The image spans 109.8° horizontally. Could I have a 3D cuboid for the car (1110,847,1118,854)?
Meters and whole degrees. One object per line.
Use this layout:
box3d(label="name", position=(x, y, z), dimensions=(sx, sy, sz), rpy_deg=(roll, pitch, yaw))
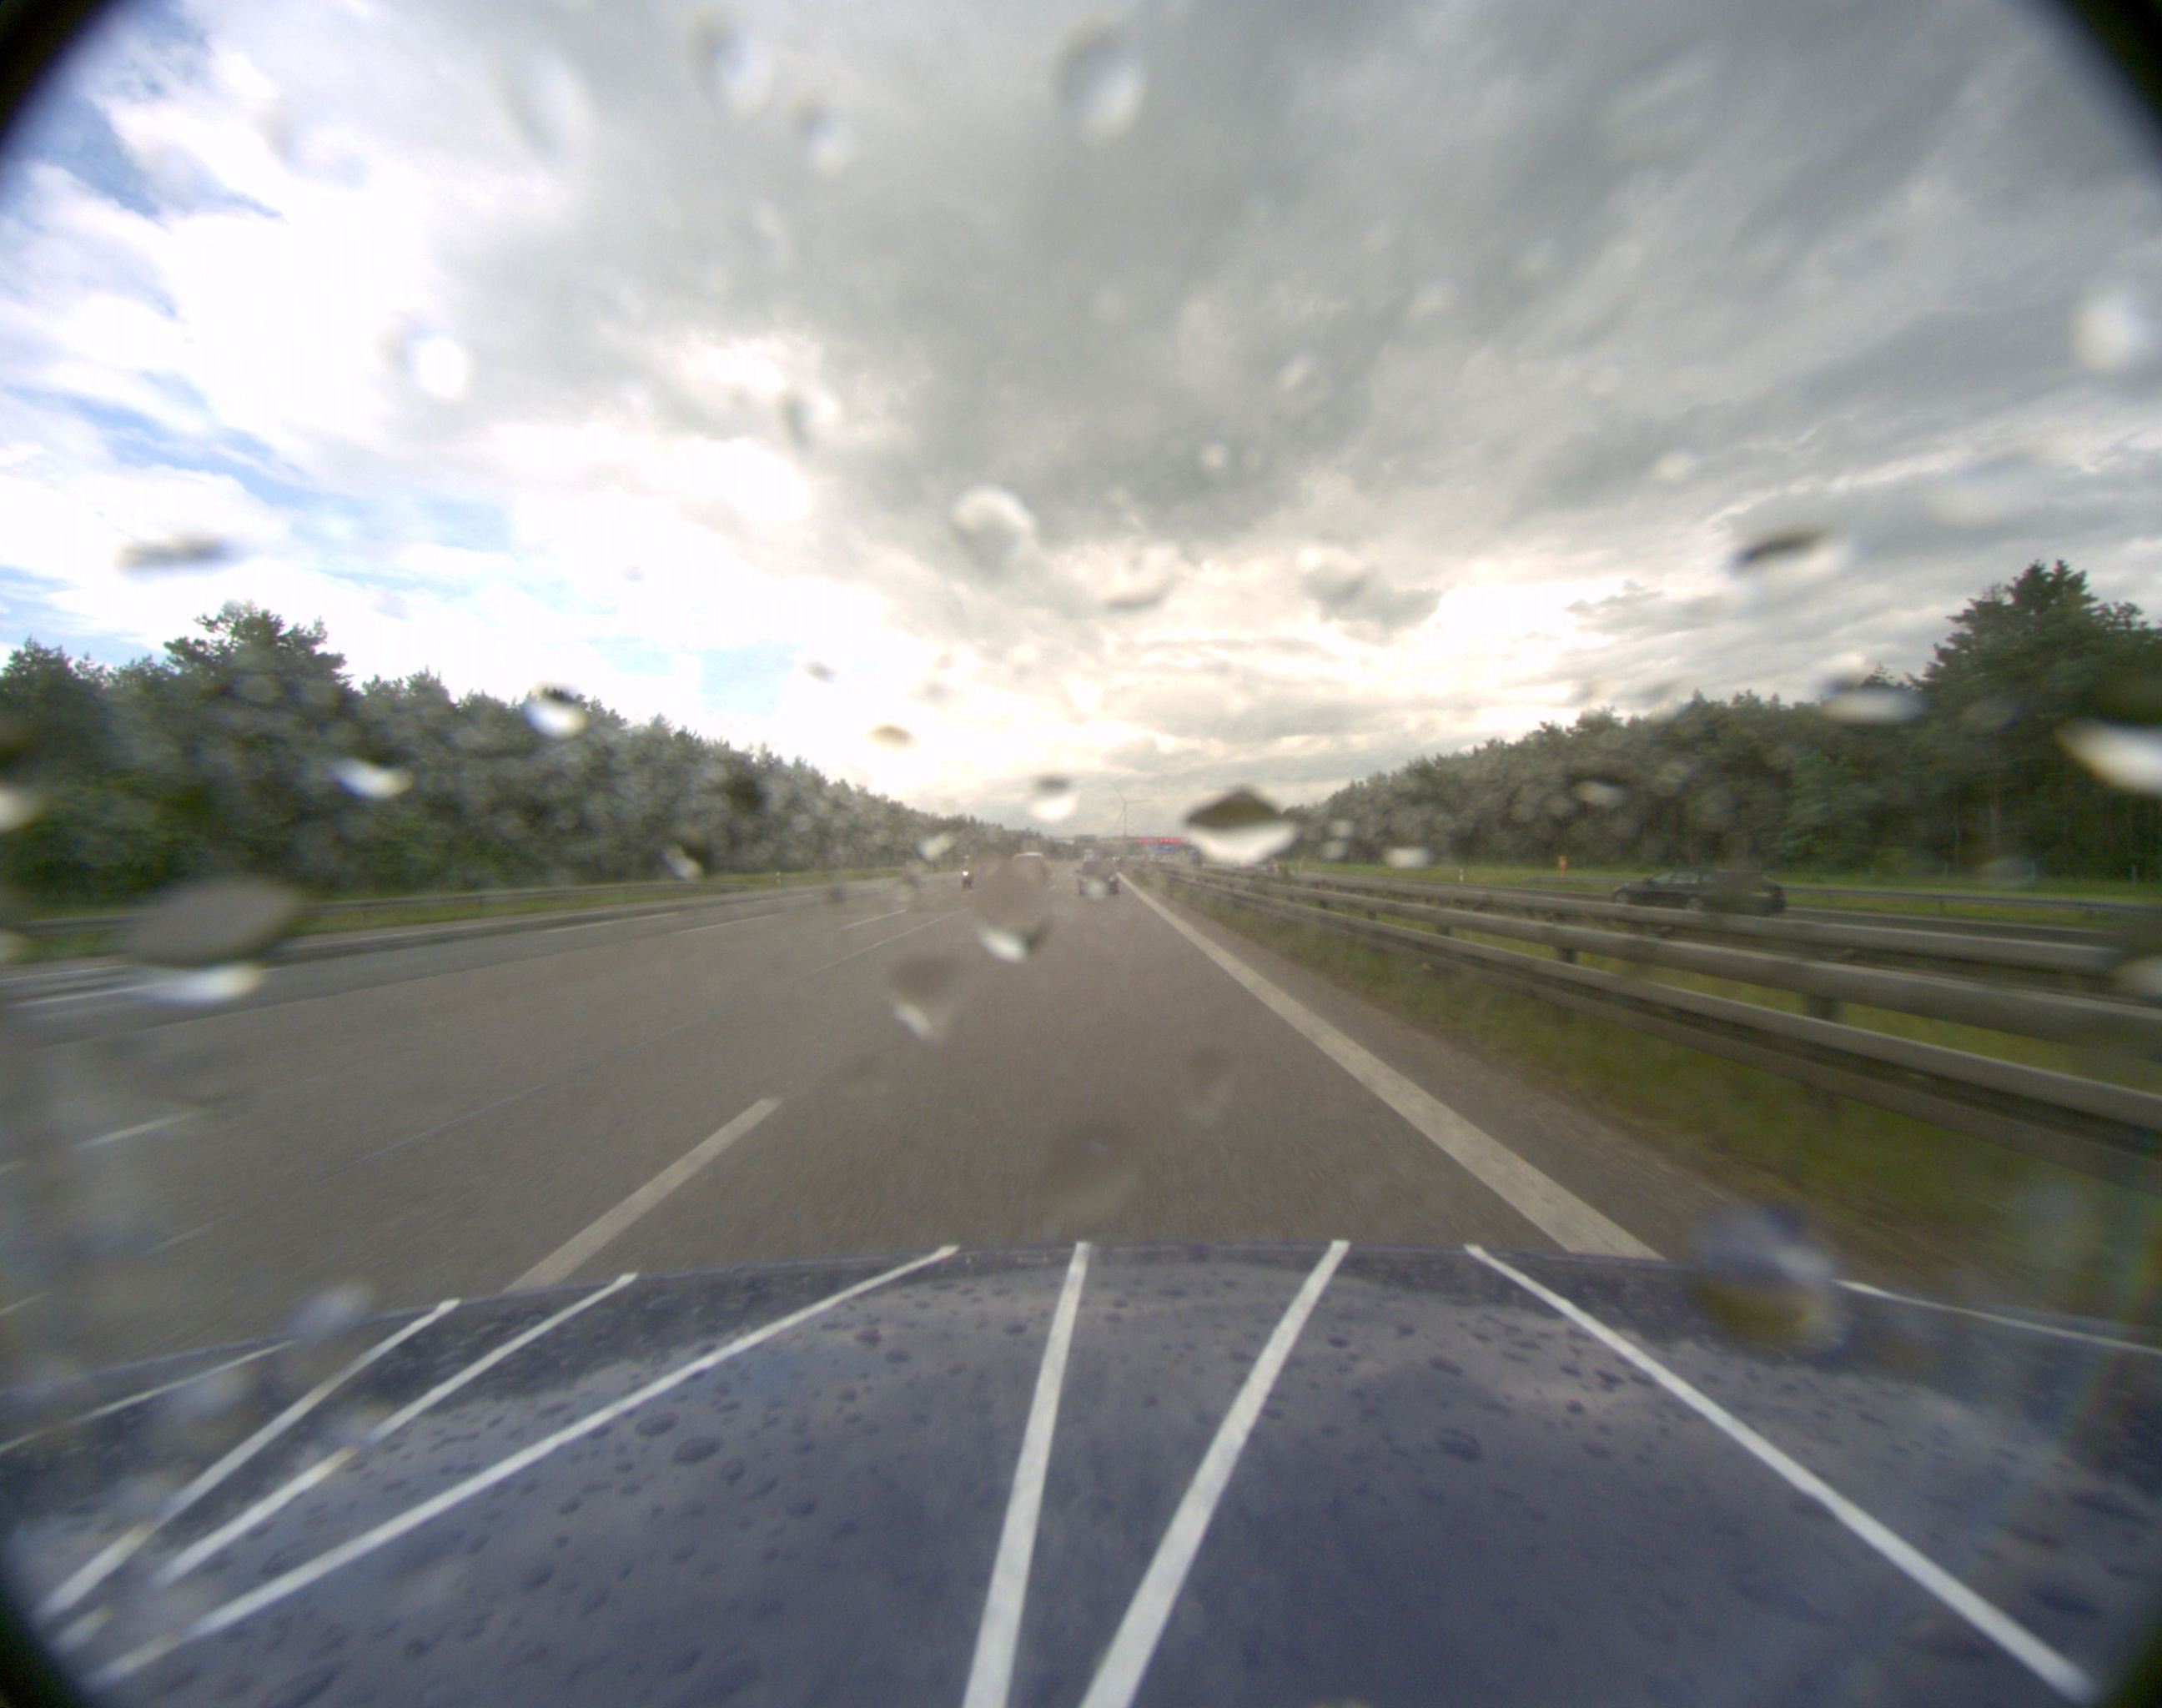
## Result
box3d(label="car", position=(11.179, -1.166, 257.402), dimensions=(2.179, 2.002, 4.361), rpy_deg=(-2, 1, 0))

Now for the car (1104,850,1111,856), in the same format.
box3d(label="car", position=(7.592, -0.272, 219.749), dimensions=(1.832, 1.838, 3.999), rpy_deg=(-3, 0, -1))

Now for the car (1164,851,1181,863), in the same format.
box3d(label="car", position=(12.393, 0.345, 102.919), dimensions=(1.864, 1.579, 4.490), rpy_deg=(-1, 0, 1))

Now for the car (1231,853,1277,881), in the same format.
box3d(label="car", position=(9.779, 0.699, 43.196), dimensions=(1.775, 1.530, 4.000), rpy_deg=(0, 0, 1))

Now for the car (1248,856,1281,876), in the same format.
box3d(label="car", position=(14.383, 0.926, 59.668), dimensions=(1.702, 1.479, 4.000), rpy_deg=(0, 0, 1))

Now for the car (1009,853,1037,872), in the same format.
box3d(label="car", position=(-6.403, 0.897, 84.085), dimensions=(1.997, 2.002, 5.485), rpy_deg=(-2, 0, 6))

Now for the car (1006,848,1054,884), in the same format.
box3d(label="car", position=(-2.784, 0.628, 42.480), dimensions=(1.968, 1.890, 4.883), rpy_deg=(-1, 0, 4))

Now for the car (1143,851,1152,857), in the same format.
box3d(label="car", position=(16.010, -0.038, 182.089), dimensions=(1.732, 1.381, 4.092), rpy_deg=(1, 0, 0))

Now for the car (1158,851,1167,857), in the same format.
box3d(label="car", position=(18.979, 0.021, 177.541), dimensions=(1.732, 1.472, 4.000), rpy_deg=(0, 0, 0))

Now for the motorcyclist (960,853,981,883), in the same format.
box3d(label="motorcyclist", position=(-6.050, 0.755, 41.524), dimensions=(0.893, 1.605, 0.959), rpy_deg=(-1, 1, 4))

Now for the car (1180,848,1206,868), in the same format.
box3d(label="car", position=(11.382, 0.400, 77.485), dimensions=(1.998, 2.002, 4.626), rpy_deg=(0, 1, 1))

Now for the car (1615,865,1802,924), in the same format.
box3d(label="car", position=(17.285, 1.057, 21.242), dimensions=(1.702, 1.350, 4.257), rpy_deg=(1, 1, 1))

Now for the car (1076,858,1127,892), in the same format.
box3d(label="car", position=(0.943, 0.844, 32.538), dimensions=(1.809, 1.321, 4.433), rpy_deg=(0, 0, 6))

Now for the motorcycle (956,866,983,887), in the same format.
box3d(label="motorcycle", position=(-6.046, 1.202, 41.431), dimensions=(1.002, 1.025, 2.174), rpy_deg=(-1, 0, 4))
